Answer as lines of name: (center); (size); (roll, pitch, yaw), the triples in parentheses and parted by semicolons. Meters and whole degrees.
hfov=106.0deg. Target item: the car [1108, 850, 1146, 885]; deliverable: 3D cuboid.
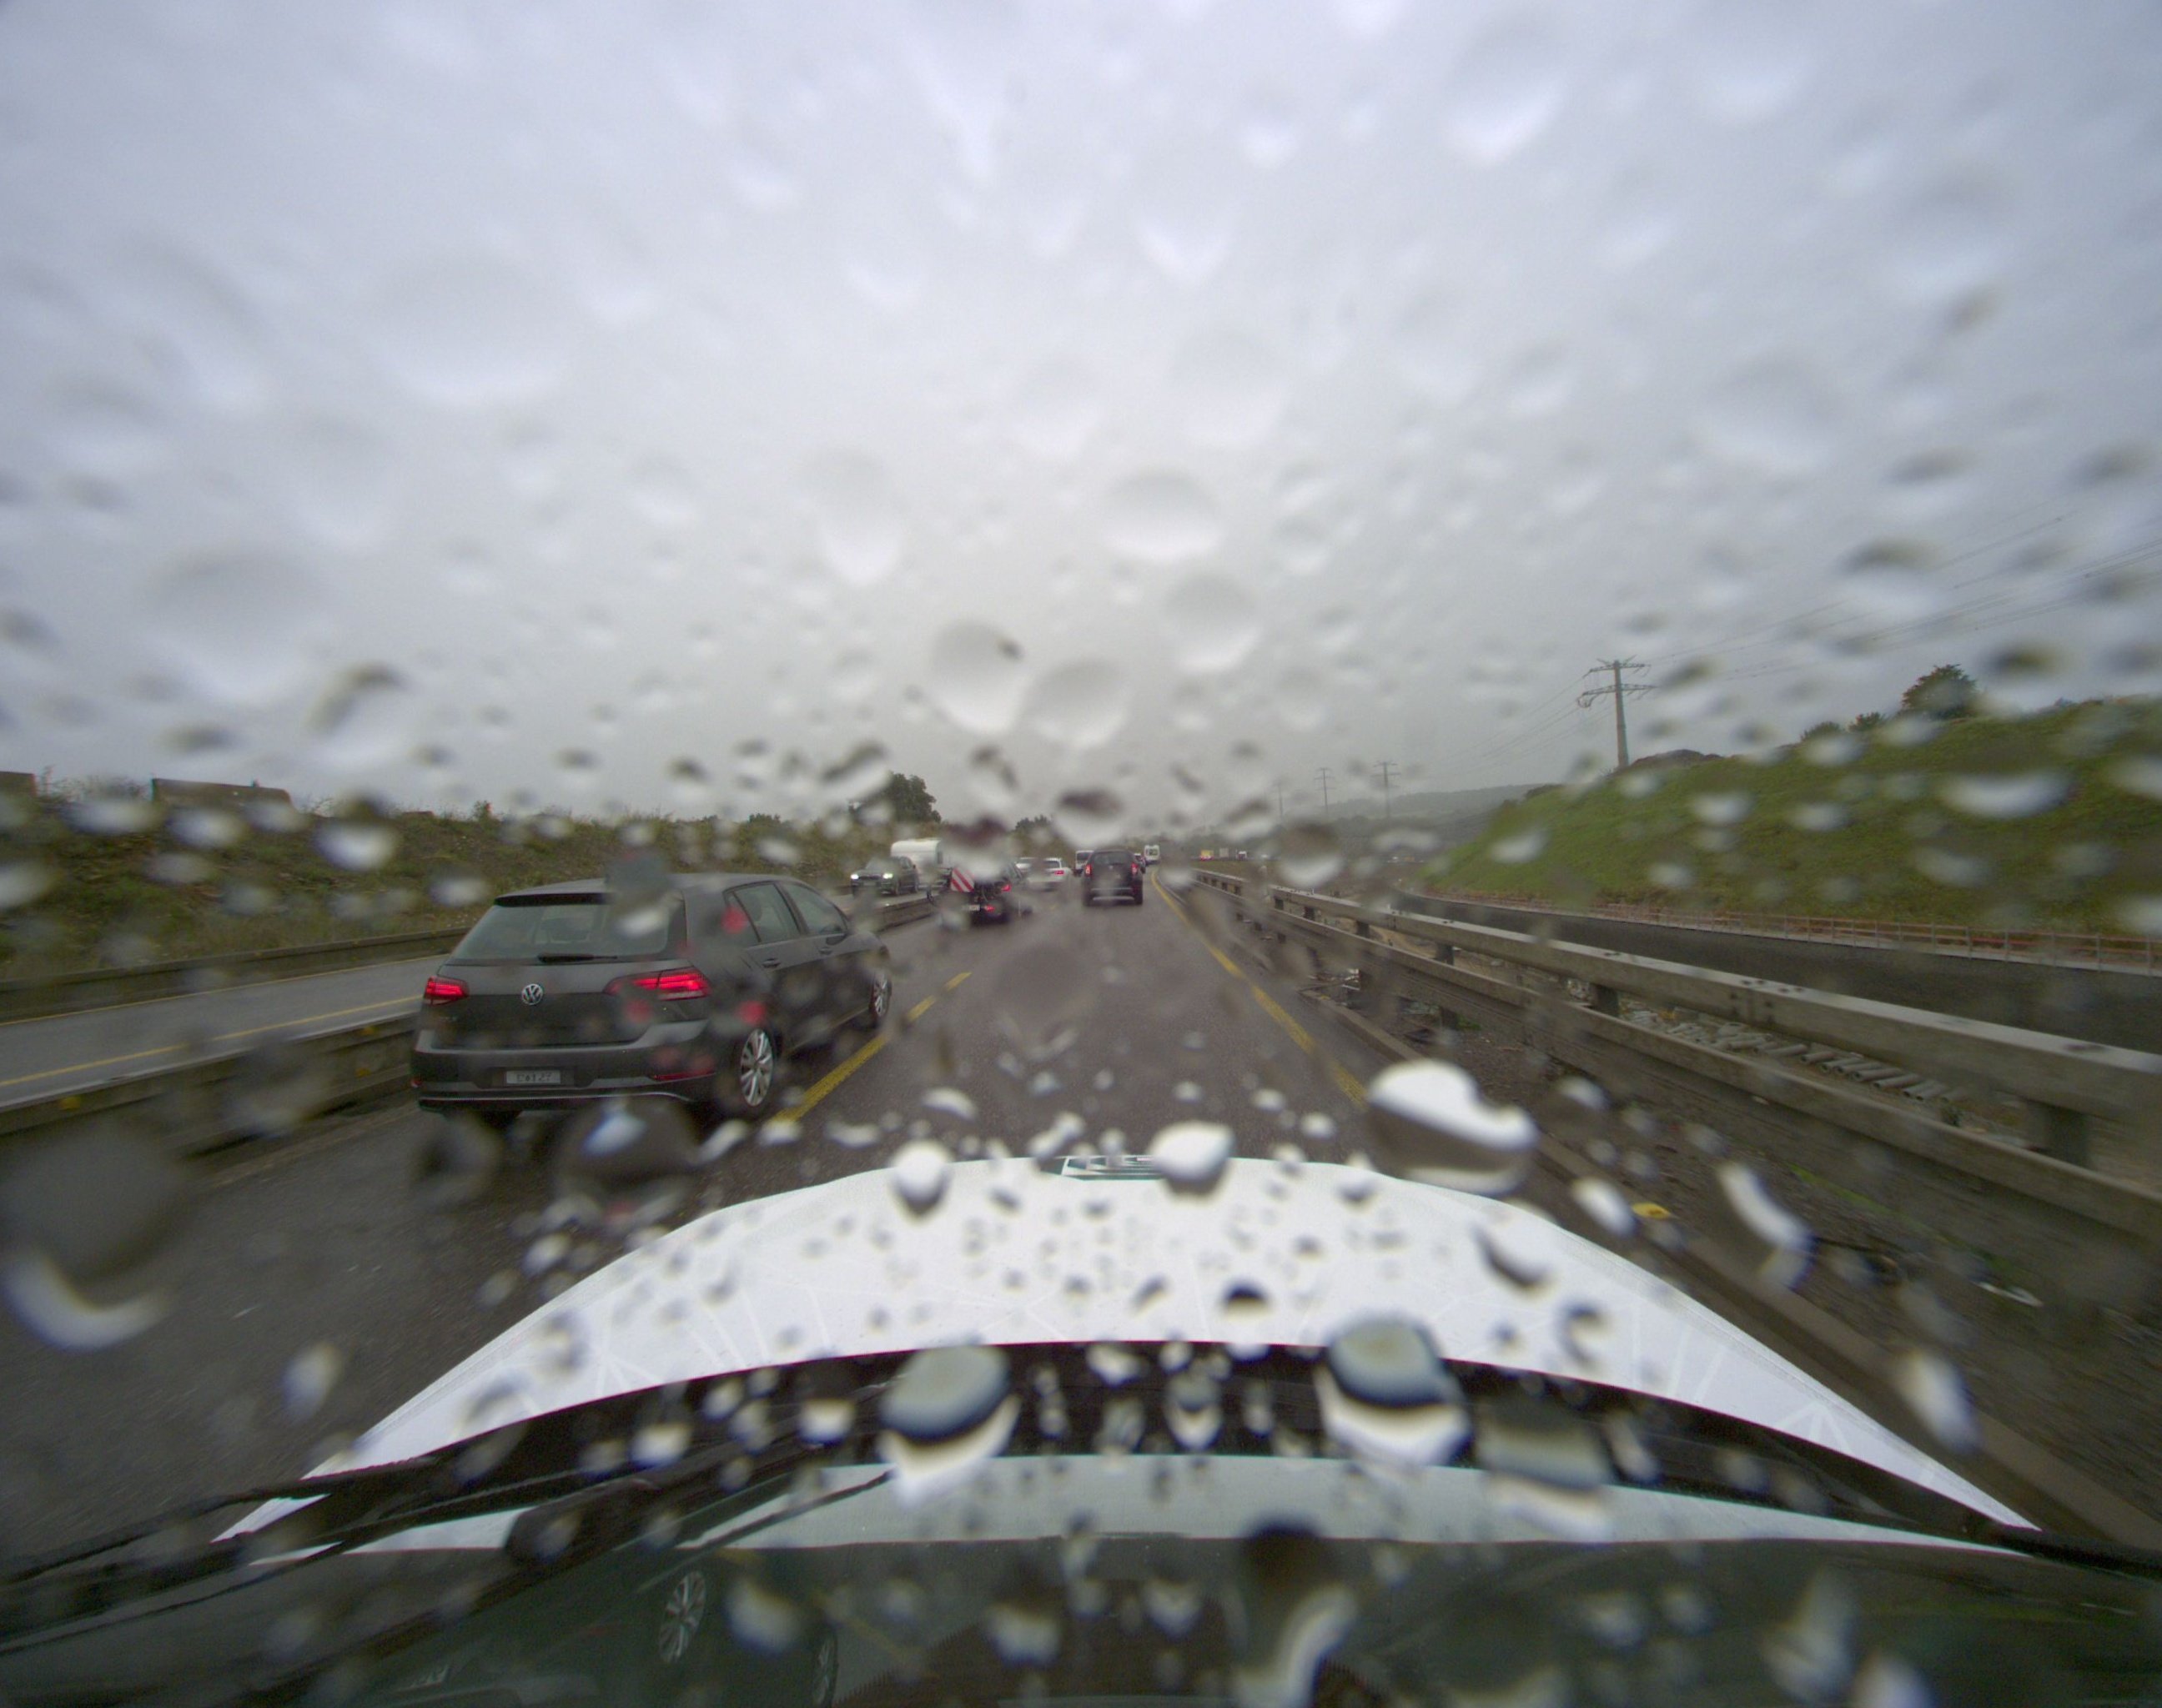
car: (2.359, 0.674, 42.202); (1.860, 1.708, 4.002); (-1, 0, 2)

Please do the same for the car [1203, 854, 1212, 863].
car: (28.762, 1.058, 185.307); (1.763, 1.916, 4.014); (0, 0, 13)

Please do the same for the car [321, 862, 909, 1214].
car: (-2.594, 0.860, 5.904); (1.608, 1.506, 4.369); (-3, 0, 1)

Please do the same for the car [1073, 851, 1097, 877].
car: (0.317, 0.713, 59.531); (1.653, 1.880, 4.022); (0, 0, 2)

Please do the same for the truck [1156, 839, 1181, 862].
truck: (14.634, -0.512, 135.549); (3.179, 3.761, 8.537); (0, 0, 12)

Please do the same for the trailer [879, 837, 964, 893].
trailer: (-7.853, 0.477, 41.080); (2.499, 2.564, 7.169); (-1, 0, 3)

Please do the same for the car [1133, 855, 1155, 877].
car: (4.837, 0.926, 62.762); (1.524, 1.640, 4.015); (0, 0, 3)

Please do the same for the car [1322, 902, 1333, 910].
car: (60.712, 12.749, 200.646); (1.980, 1.816, 4.012); (-1, -1, 11)

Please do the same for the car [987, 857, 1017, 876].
car: (-6.464, 0.993, 67.113); (1.761, 1.443, 4.675); (-1, 0, 3)

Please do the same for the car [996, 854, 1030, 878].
car: (-4.782, 0.840, 57.853); (1.870, 1.500, 4.339); (-1, 1, 3)

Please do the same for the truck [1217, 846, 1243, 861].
truck: (43.821, -0.161, 238.755); (4.678, 4.150, 15.761); (-1, 0, 20)

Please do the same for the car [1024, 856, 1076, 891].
car: (-1.292, 0.823, 36.308); (1.859, 1.460, 4.553); (0, 0, 4)

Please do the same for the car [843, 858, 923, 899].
car: (-8.362, 0.985, 34.942); (1.986, 1.586, 5.122); (-1, 0, 2)

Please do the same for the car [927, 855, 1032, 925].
car: (-2.326, 0.808, 19.594); (1.821, 1.476, 3.779); (-1, -1, 3)

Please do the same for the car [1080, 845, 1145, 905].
car: (1.003, 0.598, 24.716); (1.796, 1.646, 3.780); (-1, -1, 4)

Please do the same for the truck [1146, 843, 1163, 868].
truck: (9.780, 0.210, 108.491); (2.140, 3.166, 6.466); (0, 0, 4)

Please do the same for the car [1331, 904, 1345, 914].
car: (58.071, 12.435, 184.150); (2.351, 2.014, 4.010); (0, 0, 9)

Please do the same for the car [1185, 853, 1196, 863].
car: (22.168, 0.815, 164.615); (1.763, 1.916, 4.014); (0, 0, 13)
